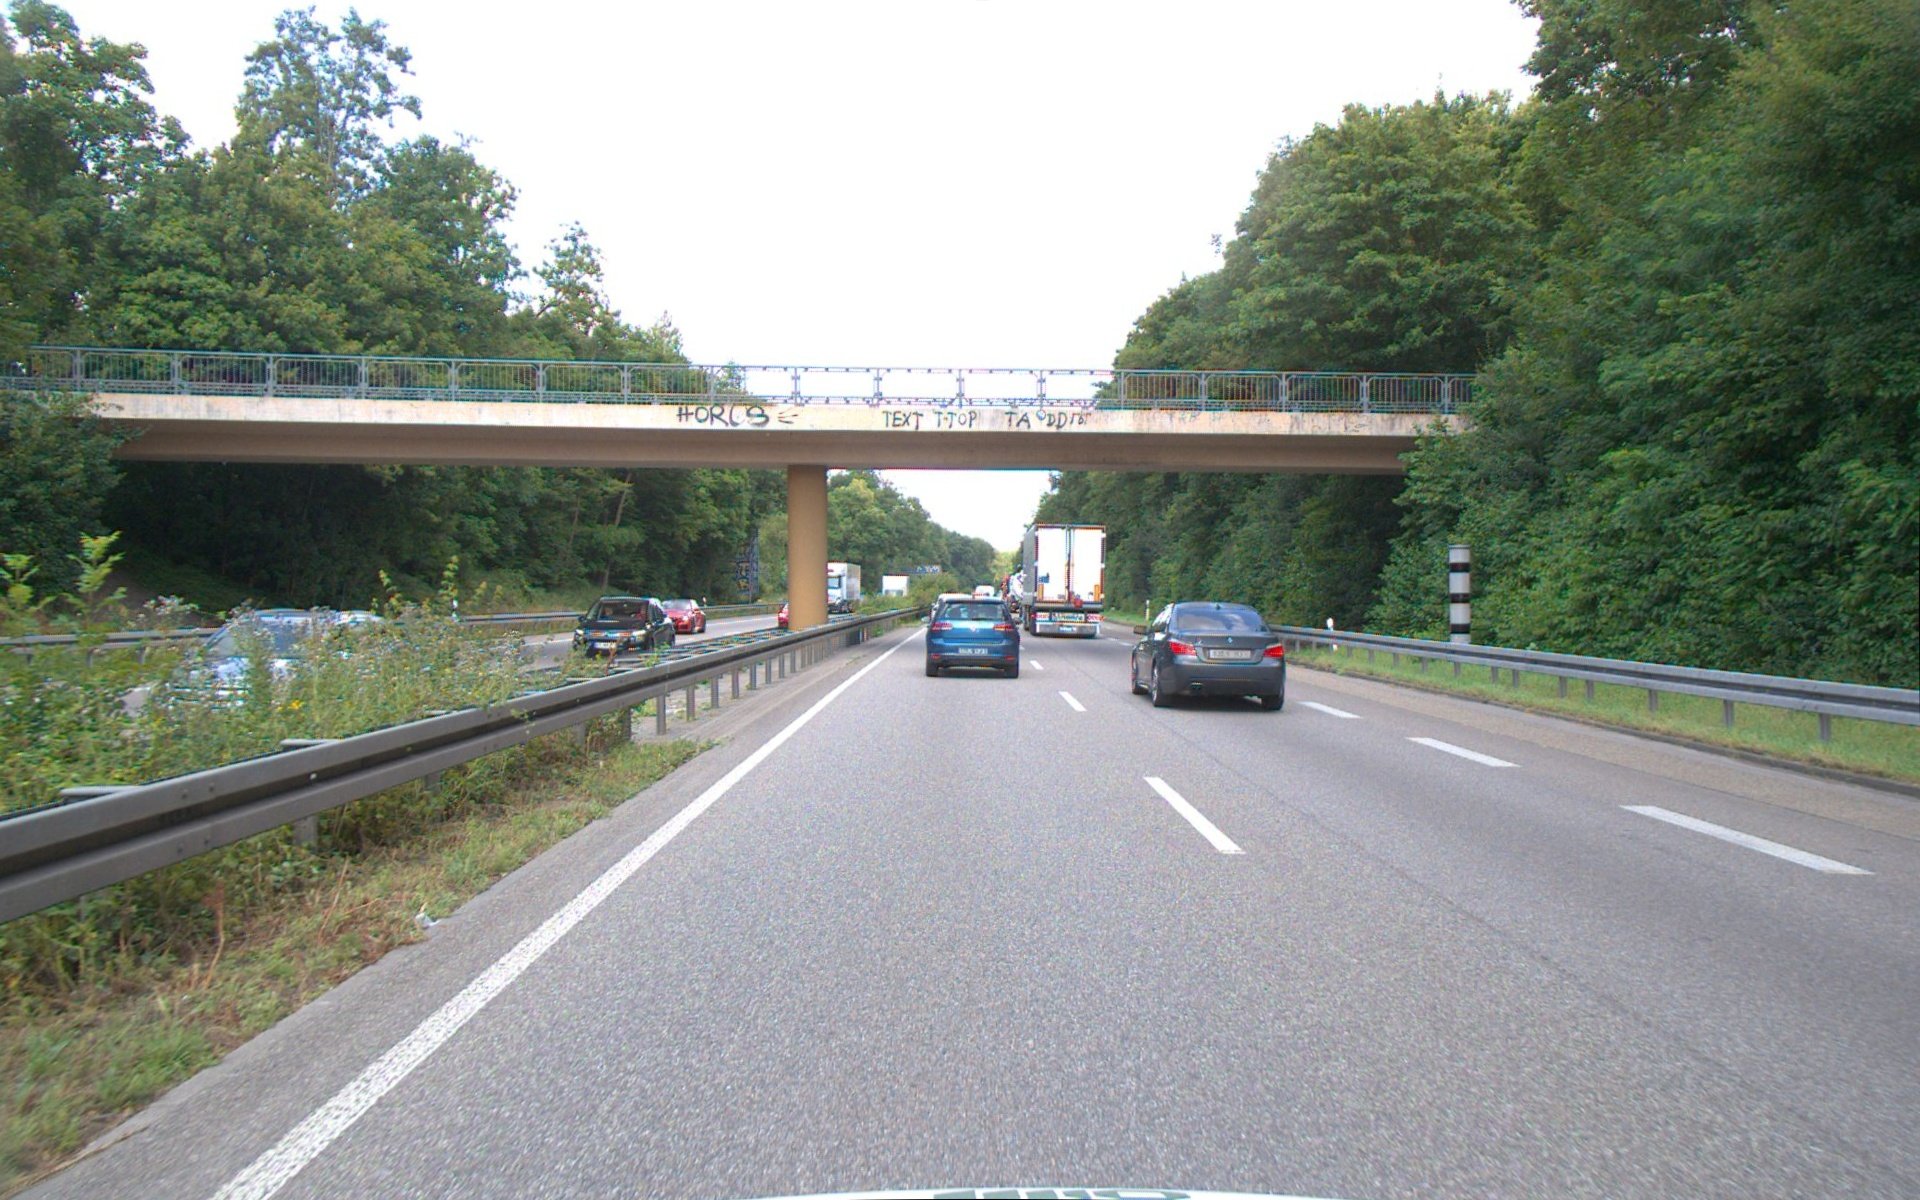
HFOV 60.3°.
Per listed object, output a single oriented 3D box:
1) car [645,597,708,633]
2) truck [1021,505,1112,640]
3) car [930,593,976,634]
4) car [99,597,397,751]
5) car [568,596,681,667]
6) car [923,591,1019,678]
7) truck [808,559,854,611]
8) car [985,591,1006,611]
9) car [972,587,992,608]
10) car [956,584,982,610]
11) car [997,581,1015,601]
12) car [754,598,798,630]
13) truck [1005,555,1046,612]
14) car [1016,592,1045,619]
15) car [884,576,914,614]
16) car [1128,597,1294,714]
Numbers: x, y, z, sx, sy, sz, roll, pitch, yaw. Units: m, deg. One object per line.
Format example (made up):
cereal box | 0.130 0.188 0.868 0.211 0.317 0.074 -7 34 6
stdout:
car | -11.629 0.605 68.166 1.826 1.402 4.805 0 0 -1
truck | 3.981 -1.008 64.313 3.174 4.798 11.009 0 0 2
car | -0.254 0.523 65.164 1.631 1.526 4.153 1 0 1
car | -8.257 0.785 19.624 1.784 1.615 4.138 0 0 -1
car | -8.008 0.706 39.841 1.827 1.617 4.564 0 0 -1
car | 0.217 0.615 31.341 1.670 1.495 4.000 2 0 1
truck | -10.308 -1.190 132.338 2.977 4.056 6.749 0 0 1
car | 3.357 0.111 155.708 1.913 1.887 4.001 0 0 3
car | 2.334 -0.279 177.561 1.953 2.294 4.441 0 0 -1
car | 0.719 -0.244 132.488 1.913 2.049 4.002 0 0 3
car | 5.661 -1.122 202.700 1.953 2.368 4.441 0 0 -1
car | -8.743 0.641 78.833 1.651 1.502 4.436 0 0 -1
truck | 5.353 -1.270 137.546 3.165 4.463 12.972 1 -1 2
car | 4.678 0.342 110.059 1.849 1.759 4.001 0 0 1
car | -5.306 -0.446 145.014 2.241 3.289 7.286 0 0 0
car | 3.566 0.730 24.311 1.738 1.501 4.881 2 0 1
